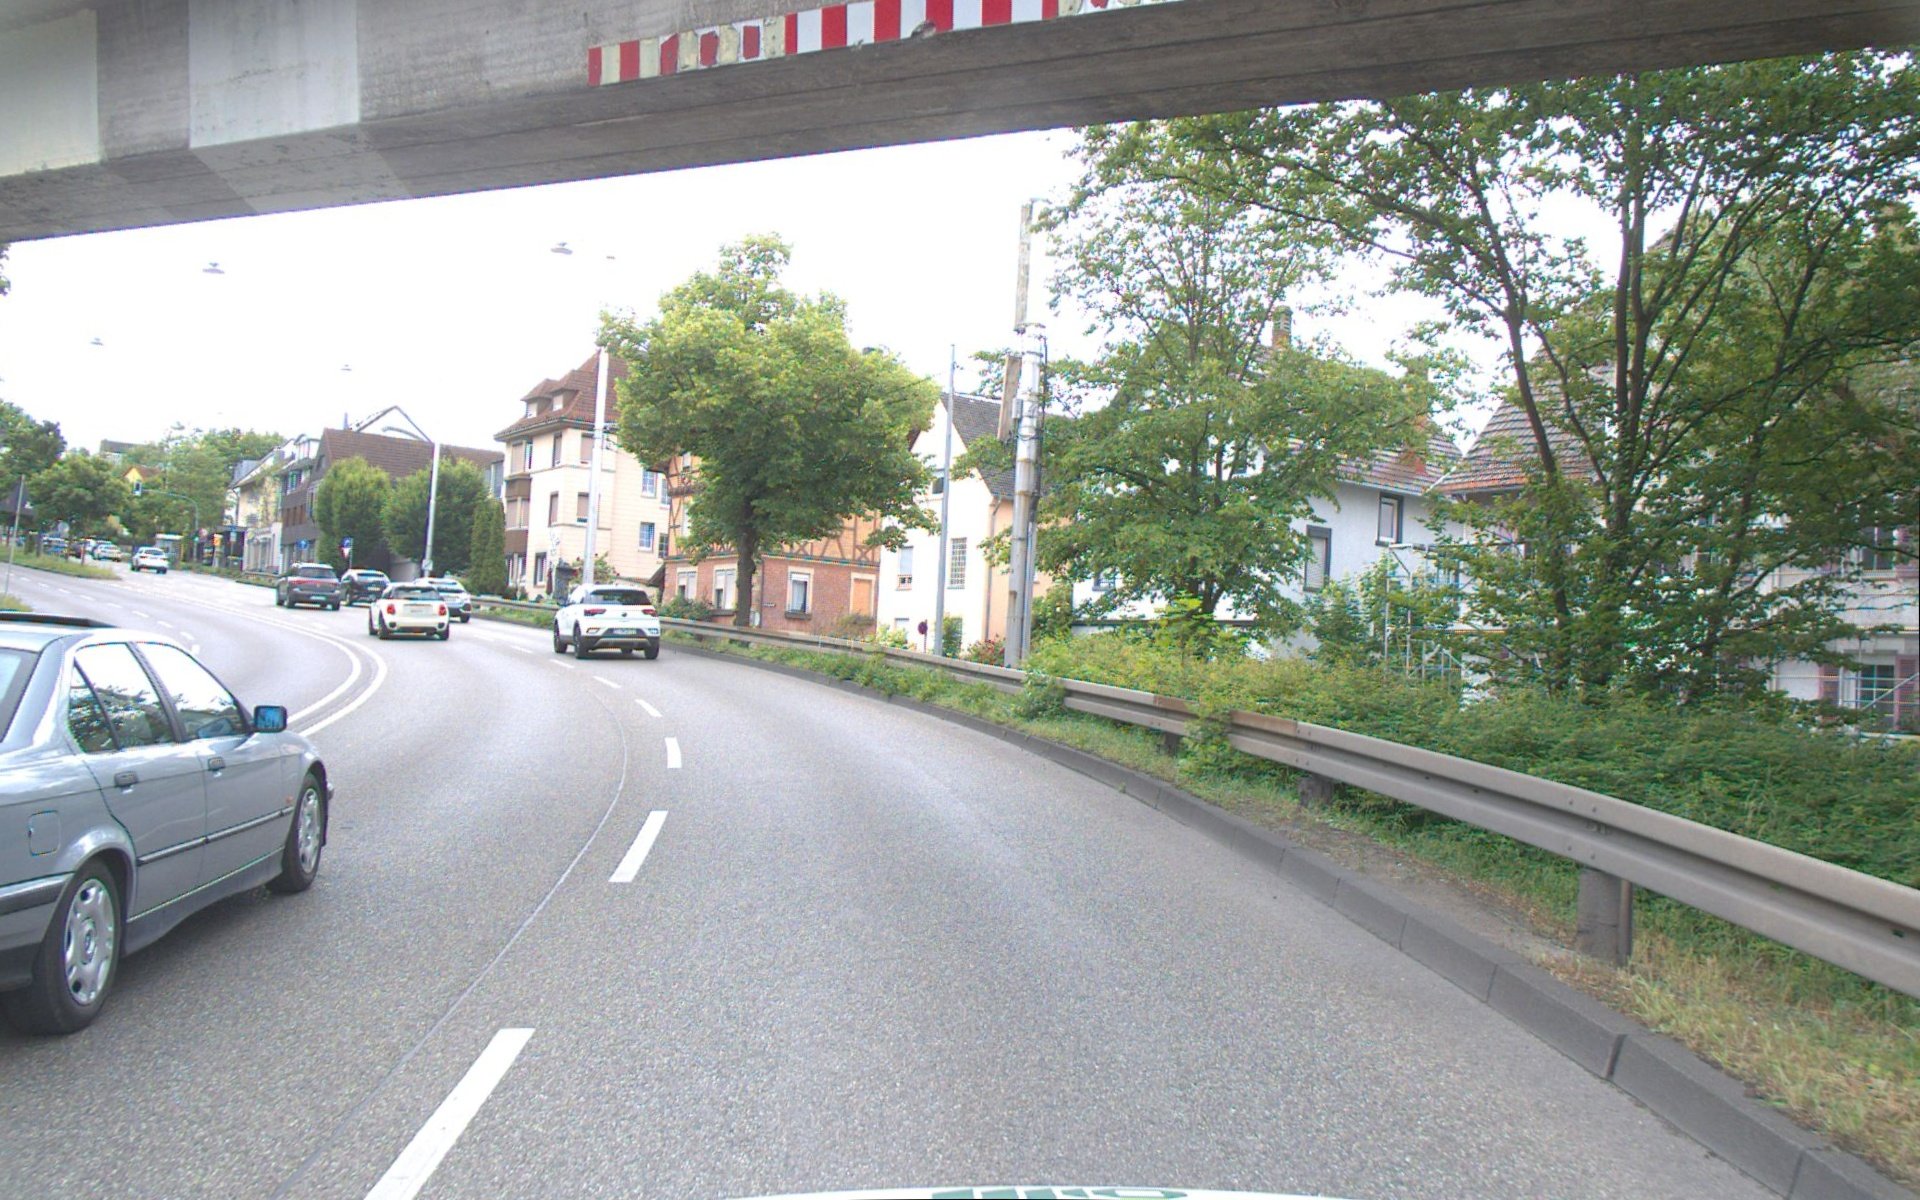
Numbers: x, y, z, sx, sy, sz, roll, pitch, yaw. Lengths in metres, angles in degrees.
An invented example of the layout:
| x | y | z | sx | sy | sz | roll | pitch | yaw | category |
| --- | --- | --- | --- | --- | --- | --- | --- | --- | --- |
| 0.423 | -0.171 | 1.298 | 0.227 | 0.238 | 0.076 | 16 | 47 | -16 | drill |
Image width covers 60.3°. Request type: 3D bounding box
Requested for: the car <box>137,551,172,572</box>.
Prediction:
| x | y | z | sx | sy | sz | roll | pitch | yaw | category |
| --- | --- | --- | --- | --- | --- | --- | --- | --- | --- |
| -54.549 | -2.603 | 111.937 | 1.707 | 1.400 | 3.417 | 2 | 0 | -33 | car |

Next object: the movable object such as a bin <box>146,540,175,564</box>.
| x | y | z | sx | sy | sz | roll | pitch | yaw | category |
| --- | --- | --- | --- | --- | --- | --- | --- | --- | --- |
| -71.830 | -4.349 | 148.579 | 1.881 | 1.902 | 1.506 | 7 | -2 | -42 | movable object such as a bin |

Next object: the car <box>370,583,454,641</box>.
| x | y | z | sx | sy | sz | roll | pitch | yaw | category |
| --- | --- | --- | --- | --- | --- | --- | --- | --- | --- |
| -14.313 | 0.283 | 43.109 | 1.700 | 1.400 | 3.430 | 2 | 0 | -24 | car |

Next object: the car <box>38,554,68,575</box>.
| x | y | z | sx | sy | sz | roll | pitch | yaw | category |
| --- | --- | --- | --- | --- | --- | --- | --- | --- | --- |
| -73.343 | -2.882 | 133.696 | 1.708 | 1.610 | 3.414 | 2 | 0 | -35 | car |

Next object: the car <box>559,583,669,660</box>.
| x | y | z | sx | sy | sz | roll | pitch | yaw | category |
| --- | --- | --- | --- | --- | --- | --- | --- | --- | --- |
| -7.626 | 0.437 | 36.254 | 1.772 | 1.545 | 3.434 | 2 | 0 | -22 | car |

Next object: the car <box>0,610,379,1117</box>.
| x | y | z | sx | sy | sz | roll | pitch | yaw | category |
| --- | --- | --- | --- | --- | --- | --- | --- | --- | --- |
| -3.784 | 0.764 | 6.840 | 1.603 | 1.407 | 4.613 | 1 | 0 | -7 | car |

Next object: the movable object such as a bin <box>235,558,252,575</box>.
| x | y | z | sx | sy | sz | roll | pitch | yaw | category |
| --- | --- | --- | --- | --- | --- | --- | --- | --- | --- |
| -64.866 | -3.044 | 149.816 | 1.185 | 1.432 | 0.703 | 7 | -2 | -34 | movable object such as a bin |

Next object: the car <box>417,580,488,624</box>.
| x | y | z | sx | sy | sz | roll | pitch | yaw | category |
| --- | --- | --- | --- | --- | --- | --- | --- | --- | --- |
| -17.329 | 0.055 | 56.405 | 1.703 | 1.400 | 3.425 | 2 | 0 | -28 | car |

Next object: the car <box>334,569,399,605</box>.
| x | y | z | sx | sy | sz | roll | pitch | yaw | category |
| --- | --- | --- | --- | --- | --- | --- | --- | --- | --- |
| -24.503 | -0.562 | 68.233 | 1.707 | 1.400 | 3.416 | 2 | 0 | -34 | car |

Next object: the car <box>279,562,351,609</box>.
| x | y | z | sx | sy | sz | roll | pitch | yaw | category |
| --- | --- | --- | --- | --- | --- | --- | --- | --- | --- |
| -23.961 | -0.547 | 61.372 | 1.708 | 1.668 | 3.414 | 2 | 0 | -35 | car |

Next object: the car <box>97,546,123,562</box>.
| x | y | z | sx | sy | sz | roll | pitch | yaw | category |
| --- | --- | --- | --- | --- | --- | --- | --- | --- | --- |
| -77.171 | -4.181 | 150.197 | 1.707 | 1.400 | 3.417 | 2 | 0 | -33 | car |

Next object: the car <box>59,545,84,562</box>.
| x | y | z | sx | sy | sz | roll | pitch | yaw | category |
| --- | --- | --- | --- | --- | --- | --- | --- | --- | --- |
| -80.852 | -4.222 | 150.551 | 1.707 | 1.400 | 3.417 | 2 | 0 | -33 | car |
